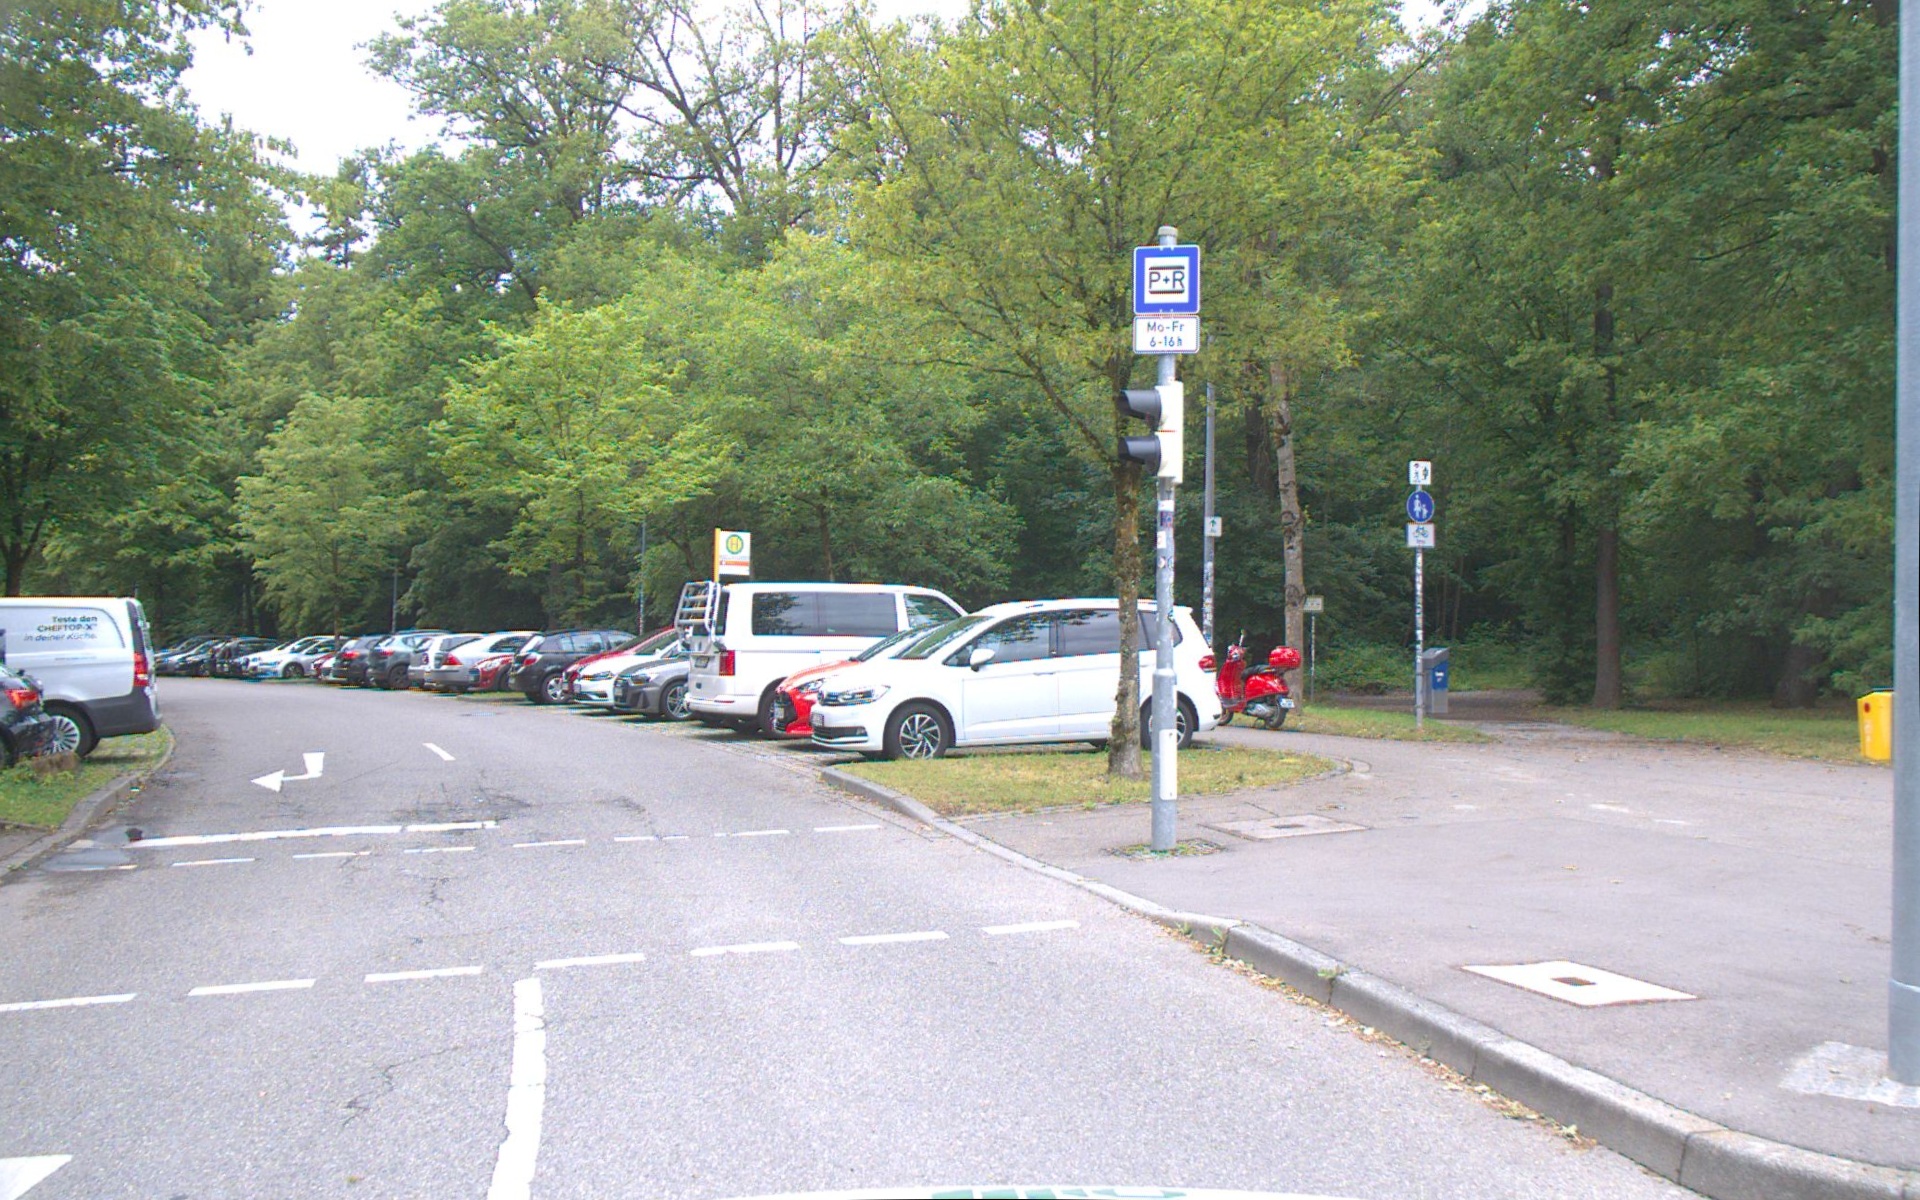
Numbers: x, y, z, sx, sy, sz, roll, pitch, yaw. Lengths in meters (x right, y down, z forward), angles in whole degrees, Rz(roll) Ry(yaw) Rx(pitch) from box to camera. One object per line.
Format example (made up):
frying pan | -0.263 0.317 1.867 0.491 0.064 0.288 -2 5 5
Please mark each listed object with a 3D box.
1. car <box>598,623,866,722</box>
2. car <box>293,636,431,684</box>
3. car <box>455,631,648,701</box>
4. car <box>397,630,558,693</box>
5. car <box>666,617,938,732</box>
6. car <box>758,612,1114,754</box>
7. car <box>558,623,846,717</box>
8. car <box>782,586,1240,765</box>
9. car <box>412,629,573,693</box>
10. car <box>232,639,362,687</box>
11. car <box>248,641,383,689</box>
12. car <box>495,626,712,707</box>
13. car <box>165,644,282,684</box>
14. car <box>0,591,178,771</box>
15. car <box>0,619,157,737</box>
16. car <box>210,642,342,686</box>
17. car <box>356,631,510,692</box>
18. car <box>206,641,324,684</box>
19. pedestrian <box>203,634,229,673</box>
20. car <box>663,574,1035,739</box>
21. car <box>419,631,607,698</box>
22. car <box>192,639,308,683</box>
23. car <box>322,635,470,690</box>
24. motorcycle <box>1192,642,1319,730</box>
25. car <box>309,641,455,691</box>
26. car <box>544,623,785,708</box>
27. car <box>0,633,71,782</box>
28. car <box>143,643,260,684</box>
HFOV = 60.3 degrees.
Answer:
car | -3.704 1.208 26.936 3.939 1.509 1.861 2 -3 -27
car | -19.125 1.899 52.972 3.778 1.466 1.840 1 -1 -45
car | -9.401 1.488 38.135 3.950 1.475 1.919 0 -2 -33
car | -12.916 1.630 44.334 3.810 1.573 1.709 0 -2 -35
car | -2.393 1.112 25.025 3.678 1.582 1.830 2 0 -27
car | -0.320 0.978 20.063 3.936 1.582 1.936 1 -1 -19
car | -4.527 1.185 29.148 4.712 1.502 1.837 0 -1 -26
car | 0.507 0.754 17.740 4.453 1.723 2.153 0 -2 -20
car | -11.984 1.546 42.418 3.667 1.537 1.731 0 -2 -33
car | -23.520 2.203 58.703 3.977 1.586 1.952 0 -1 -36
car | -22.048 2.198 56.674 3.952 1.510 1.856 1 -1 -41
car | -7.237 1.313 33.605 3.942 1.509 1.904 0 -2 -29
car | -29.645 2.570 66.607 3.962 1.501 1.924 1 -2 -40
car | -11.602 0.924 18.569 5.019 1.949 1.963 -1 -1 -24
car | -14.636 1.168 25.129 4.372 1.724 2.152 0 -1 -27
car | -25.062 2.323 60.666 4.162 1.538 1.865 1 -1 -41
car | -14.674 1.681 46.108 3.734 1.617 1.927 0 -1 -34
car | -26.434 2.377 62.921 3.802 1.483 1.783 0 -2 -39
pedestrian | -33.776 2.409 75.107 0.813 1.756 0.988 1 -3 -43
car | -1.504 0.774 22.470 4.589 2.056 2.067 2 -1 -25
car | -10.882 1.560 40.325 4.084 1.487 1.845 0 -2 -31
car | -27.758 2.373 64.693 3.804 1.558 1.824 -1 -1 -40
car | -16.400 1.778 48.173 3.741 1.507 1.750 0 -1 -38
motorcycle | 4.208 1.202 23.710 0.668 1.181 1.990 1 -1 -31
car | -17.682 1.979 50.635 3.901 1.436 1.854 0 -1 -36
car | -5.633 1.224 31.589 4.181 1.506 1.901 0 -2 -29
car | -10.817 1.033 15.824 3.936 1.403 1.709 0 -1 -25
car | -31.292 2.610 68.298 1.942 1.579 3.973 -2 -2 44
